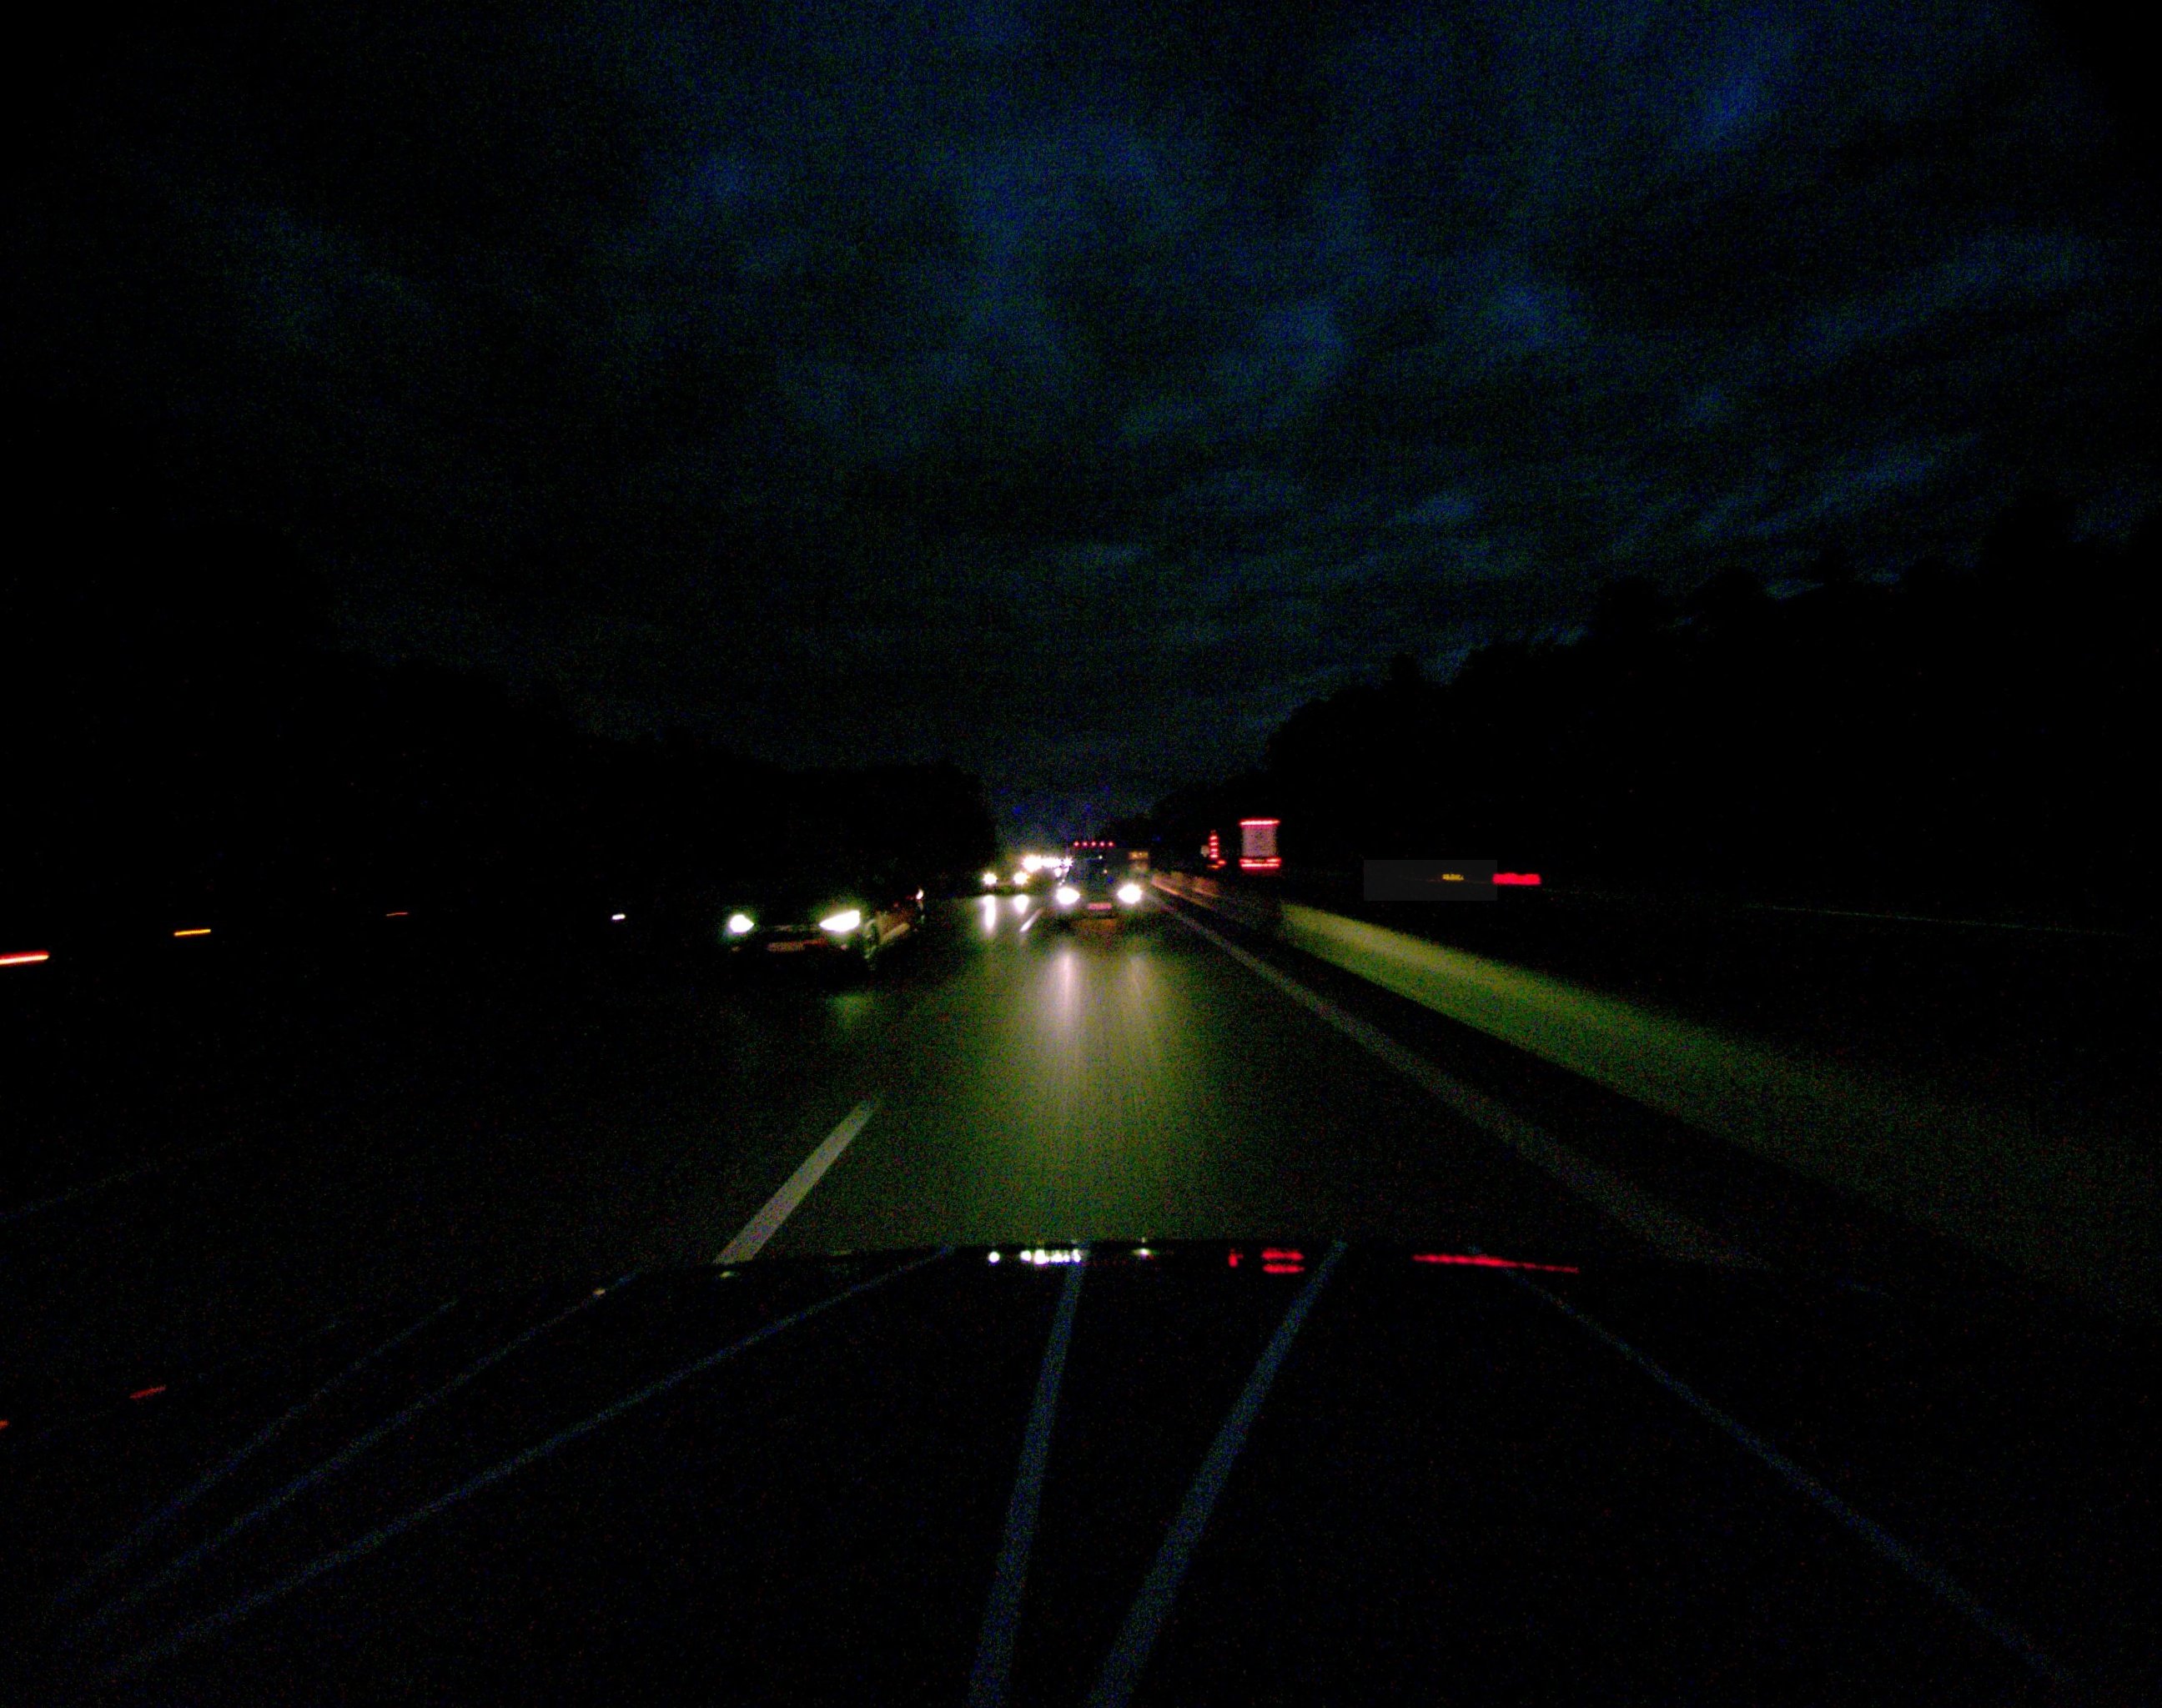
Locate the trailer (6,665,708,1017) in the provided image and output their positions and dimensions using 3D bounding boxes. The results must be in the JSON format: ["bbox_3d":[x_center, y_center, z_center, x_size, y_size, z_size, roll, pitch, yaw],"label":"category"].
[{"bbox_3d":[-11.042,-0.160,14.109,2.914,4.076,10.357,-1,0,1],"label":"trailer"}]

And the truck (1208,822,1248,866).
[{"bbox_3d":[14.555,-0.946,75.641,2.656,4.107,6.523,-1,0,-1],"label":"truck"}]

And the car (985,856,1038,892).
[{"bbox_3d":[-3.200,0.891,36.057,1.914,1.528,5.231,-1,1,1],"label":"car"}]

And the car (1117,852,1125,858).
[{"bbox_3d":[10.573,0.249,200.475,1.759,1.420,5.362,-2,0,0],"label":"car"}]

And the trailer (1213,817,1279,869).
[{"bbox_3d":[14.626,-0.919,68.771,2.656,4.107,14.325,-1,0,0],"label":"trailer"}]

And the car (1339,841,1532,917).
[{"bbox_3d":[7.590,0.467,16.985,1.998,1.416,5.145,-1,0,1],"label":"car"}]

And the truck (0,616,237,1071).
[{"bbox_3d":[-11.176,-0.054,3.218,2.892,4.076,10.831,-1,0,1],"label":"truck"}]

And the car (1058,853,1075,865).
[{"bbox_3d":[-2.064,0.661,107.019,1.999,1.539,3.999,-1,-2,-6],"label":"car"}]

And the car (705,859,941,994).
[{"bbox_3d":[-3.684,0.931,12.001,1.908,1.633,5.053,-1,-1,1],"label":"car"}]

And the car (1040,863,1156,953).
[{"bbox_3d":[0.371,0.916,14.759,1.879,1.435,4.452,-1,-1,2],"label":"car"}]

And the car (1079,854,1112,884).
[{"bbox_3d":[0.869,0.827,44.165,1.813,1.458,5.131,0,2,2],"label":"car"}]

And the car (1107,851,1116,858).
[{"bbox_3d":[7.009,0.083,176.115,1.998,1.393,4.687,-2,0,0],"label":"car"}]

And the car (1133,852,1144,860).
[{"bbox_3d":[11.508,0.395,152.640,1.781,1.393,4.939,-2,0,0],"label":"car"}]
